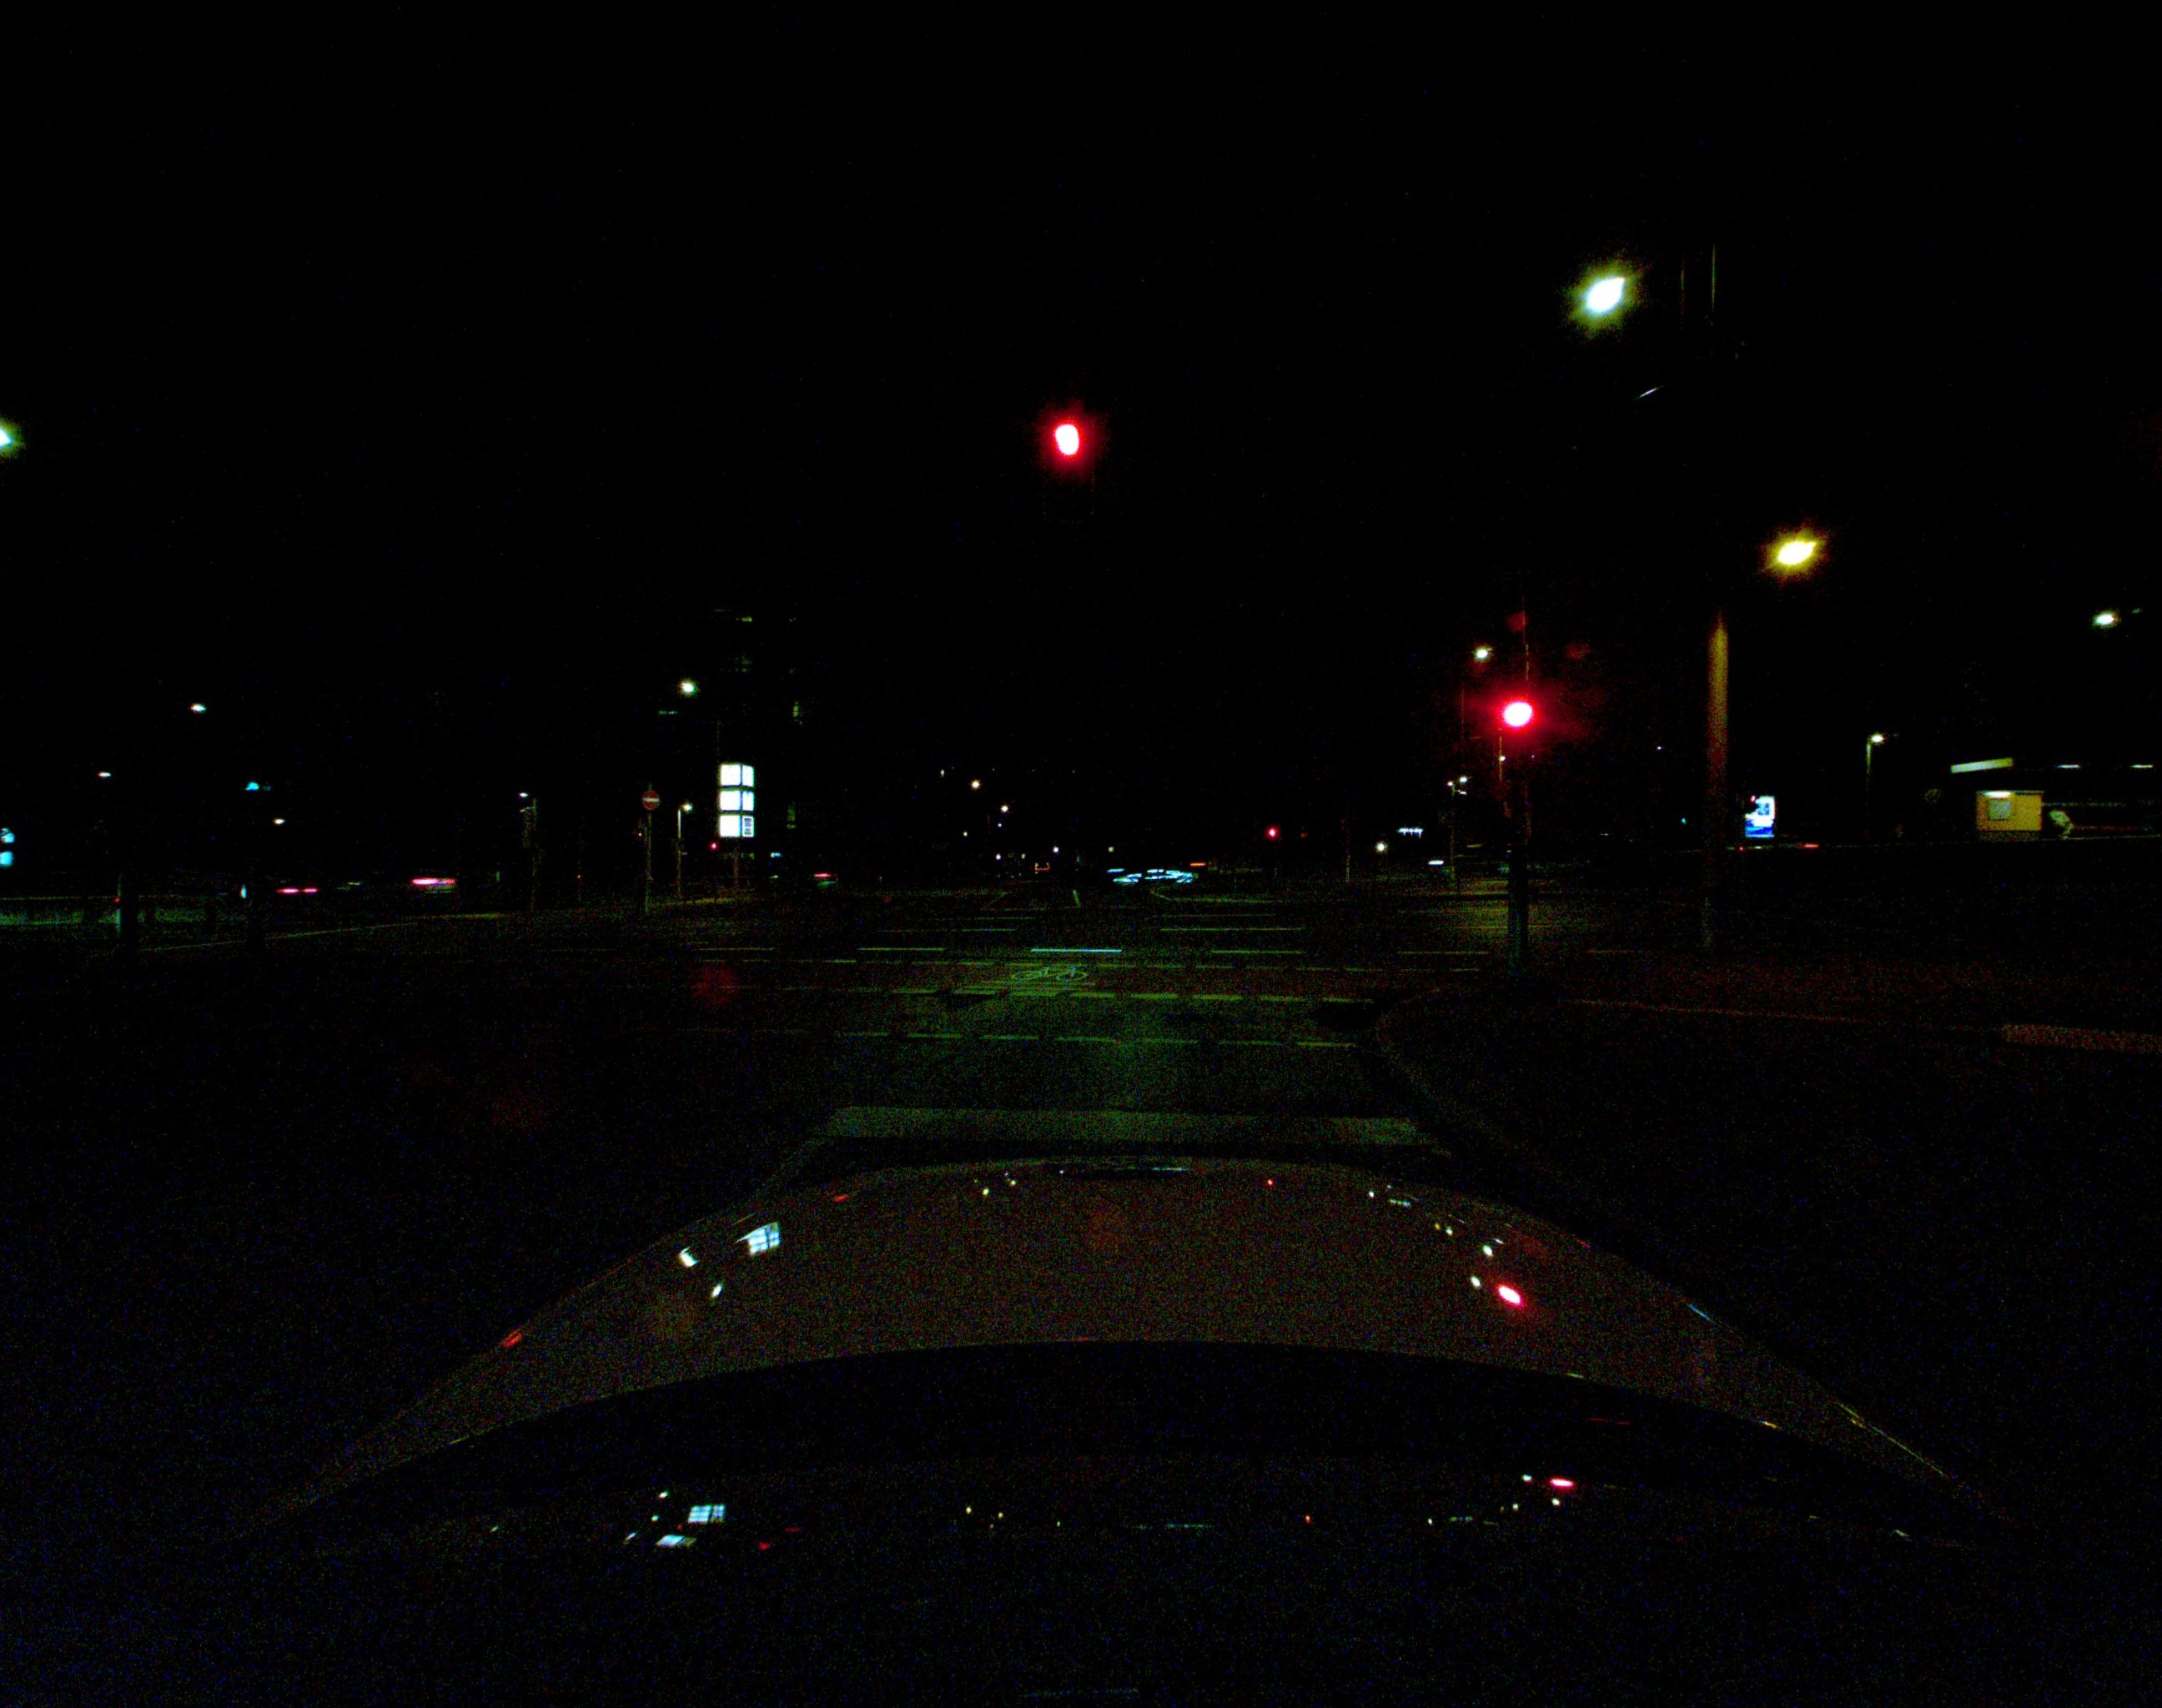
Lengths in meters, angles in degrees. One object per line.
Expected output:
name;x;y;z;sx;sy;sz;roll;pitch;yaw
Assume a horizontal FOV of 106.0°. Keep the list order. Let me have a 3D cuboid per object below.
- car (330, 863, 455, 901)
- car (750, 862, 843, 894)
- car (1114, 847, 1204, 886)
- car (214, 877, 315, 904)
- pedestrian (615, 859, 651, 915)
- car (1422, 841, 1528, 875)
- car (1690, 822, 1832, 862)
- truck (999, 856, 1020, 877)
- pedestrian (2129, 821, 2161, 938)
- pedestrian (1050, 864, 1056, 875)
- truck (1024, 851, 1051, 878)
car;-34.105;1.384;40.430;4.757;1.844;1.845;0;-1;5
car;-14.663;1.218;42.071;4.042;1.424;1.845;-1;1;3
car;3.582;0.564;37.336;3.967;1.585;1.806;-3;-1;5
car;-48.120;2.159;48.055;4.306;1.388;1.845;-2;-1;5
pedestrian;-14.048;1.021;25.555;0.670;1.722;0.710;-1;-2;29
car;18.821;0.209;39.075;4.212;1.585;1.806;0;-1;6
car;29.435;-0.519;35.364;4.551;1.585;1.848;-1;1;3
truck;-10.608;1.853;120.143;2.419;3.089;6.412;0;-1;-11
pedestrian;15.857;0.327;11.584;0.870;1.656;0.843;-7;-5;42
pedestrian;-5.129;2.773;147.856;0.851;1.912;1.001;0;-1;-16
truck;-7.998;1.935;149.253;3.366;4.843;7.865;0;-1;-14
